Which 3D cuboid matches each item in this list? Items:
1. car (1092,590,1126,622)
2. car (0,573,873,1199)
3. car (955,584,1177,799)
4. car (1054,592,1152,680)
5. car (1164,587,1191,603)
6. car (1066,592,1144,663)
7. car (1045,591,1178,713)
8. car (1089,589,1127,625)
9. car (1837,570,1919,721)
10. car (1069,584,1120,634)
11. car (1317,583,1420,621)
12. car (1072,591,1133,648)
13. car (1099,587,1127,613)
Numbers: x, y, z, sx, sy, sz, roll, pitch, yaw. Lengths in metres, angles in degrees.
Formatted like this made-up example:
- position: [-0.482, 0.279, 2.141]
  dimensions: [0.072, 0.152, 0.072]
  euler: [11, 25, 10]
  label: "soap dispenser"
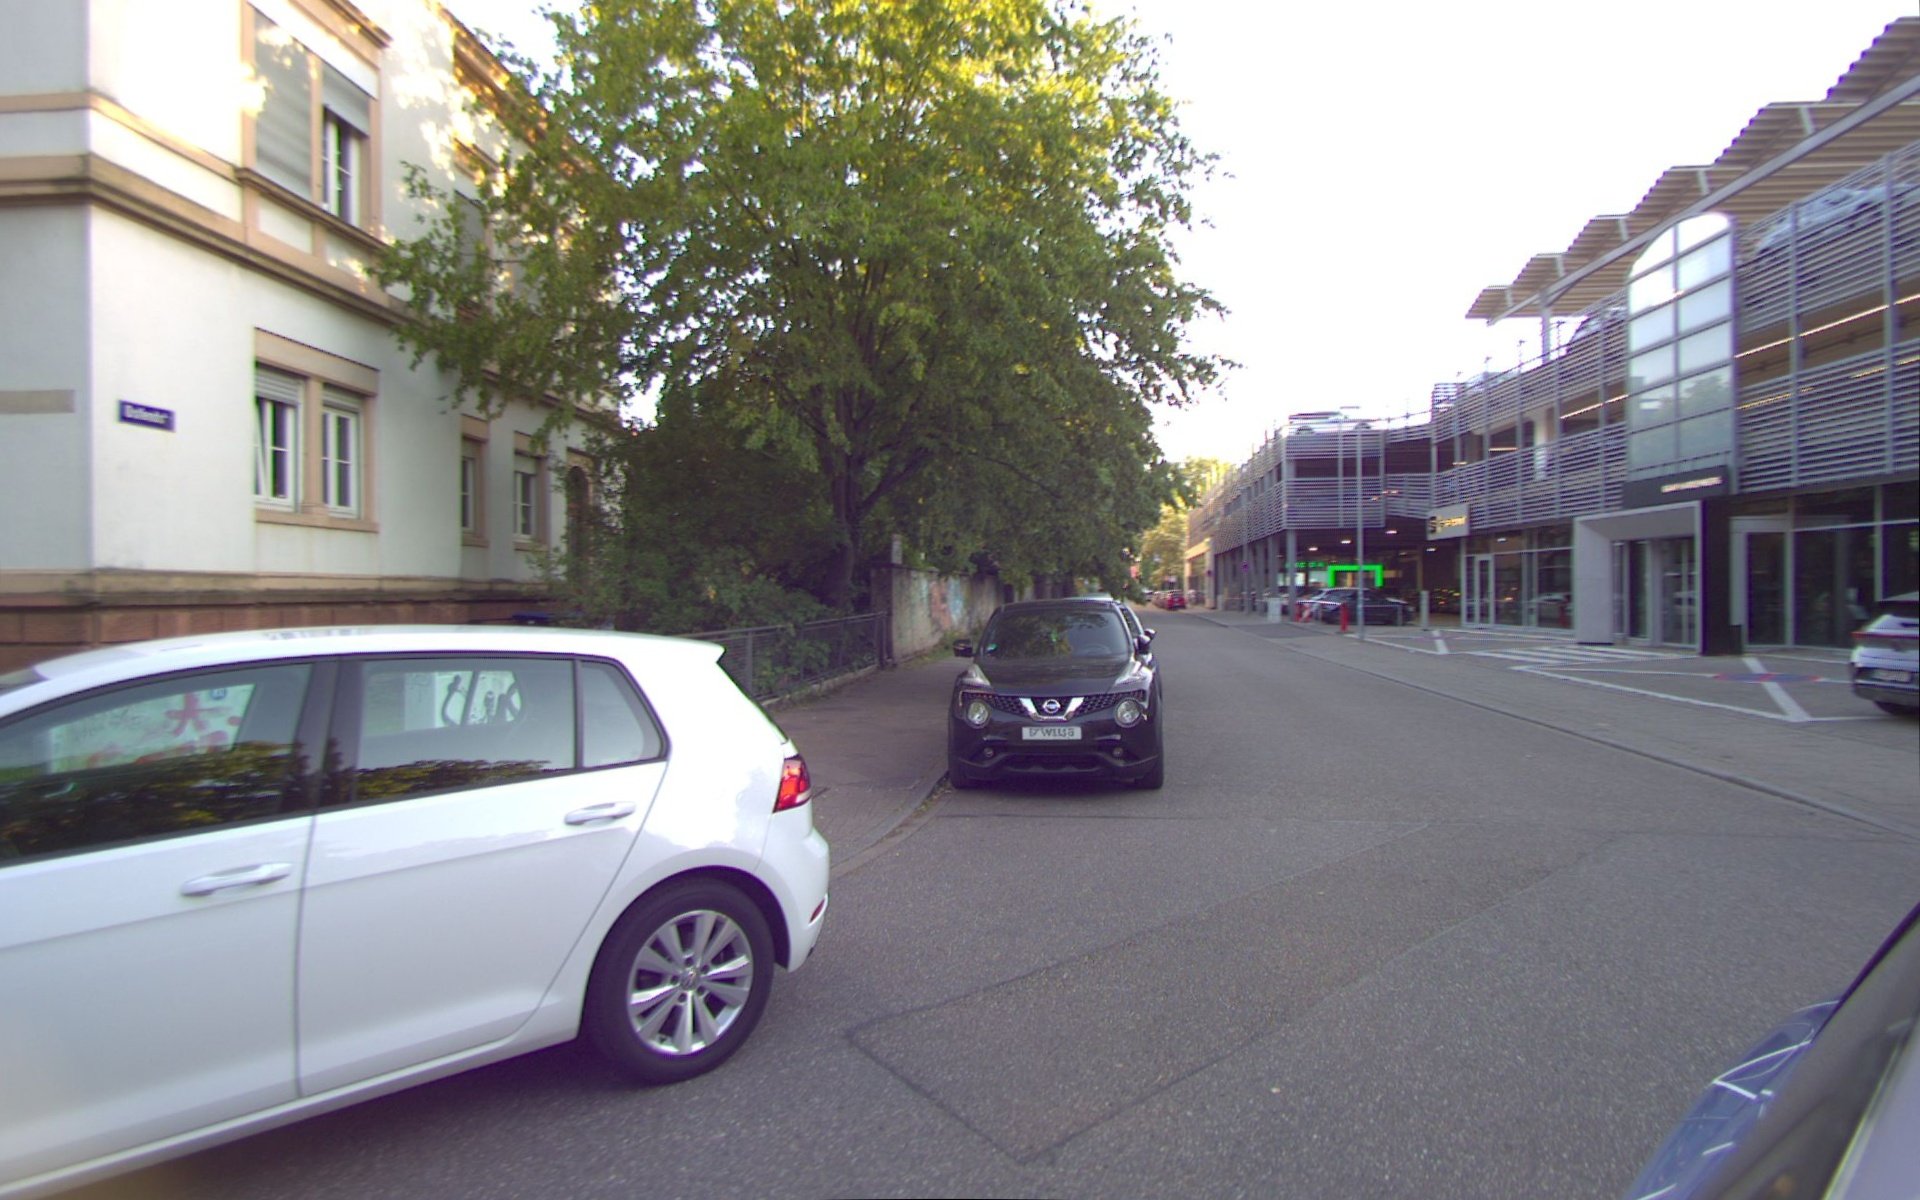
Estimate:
- position: [7.346, 0.283, 49.961]
  dimensions: [1.606, 1.472, 3.758]
  euler: [1, 1, 8]
  label: "car"
- position: [-2.468, 0.737, 2.985]
  dimensions: [4.098, 1.520, 1.810]
  euler: [0, -2, -40]
  label: "car"
- position: [1.011, 0.651, 9.443]
  dimensions: [1.605, 1.565, 3.936]
  euler: [-1, 1, 7]
  label: "car"
- position: [2.573, 0.594, 18.844]
  dimensions: [1.604, 1.453, 3.681]
  euler: [1, 0, 5]
  label: "car"
- position: [18.310, -0.440, 85.377]
  dimensions: [1.844, 1.303, 3.396]
  euler: [1, 1, 6]
  label: "car"
- position: [3.354, 0.558, 23.364]
  dimensions: [1.606, 1.452, 4.120]
  euler: [1, 1, 8]
  label: "car"
- position: [2.030, 0.616, 14.338]
  dimensions: [1.604, 1.452, 3.779]
  euler: [1, 1, 5]
  label: "car"
- position: [6.626, 0.284, 45.233]
  dimensions: [1.606, 1.472, 3.757]
  euler: [1, 1, 9]
  label: "car"
- position: [12.176, 0.413, 10.941]
  dimensions: [3.632, 1.611, 1.702]
  euler: [-3, 0, 9]
  label: "car"
- position: [4.661, 0.258, 34.968]
  dimensions: [1.606, 1.587, 4.120]
  euler: [1, 1, 8]
  label: "car"
- position: [17.767, 0.071, 44.140]
  dimensions: [3.862, 1.587, 1.629]
  euler: [1, 1, 9]
  label: "car"
- position: [4.045, 0.499, 28.951]
  dimensions: [1.605, 1.452, 4.121]
  euler: [1, 1, 7]
  label: "car"
- position: [9.214, -0.047, 60.882]
  dimensions: [1.607, 1.472, 3.755]
  euler: [1, 1, 10]
  label: "car"
